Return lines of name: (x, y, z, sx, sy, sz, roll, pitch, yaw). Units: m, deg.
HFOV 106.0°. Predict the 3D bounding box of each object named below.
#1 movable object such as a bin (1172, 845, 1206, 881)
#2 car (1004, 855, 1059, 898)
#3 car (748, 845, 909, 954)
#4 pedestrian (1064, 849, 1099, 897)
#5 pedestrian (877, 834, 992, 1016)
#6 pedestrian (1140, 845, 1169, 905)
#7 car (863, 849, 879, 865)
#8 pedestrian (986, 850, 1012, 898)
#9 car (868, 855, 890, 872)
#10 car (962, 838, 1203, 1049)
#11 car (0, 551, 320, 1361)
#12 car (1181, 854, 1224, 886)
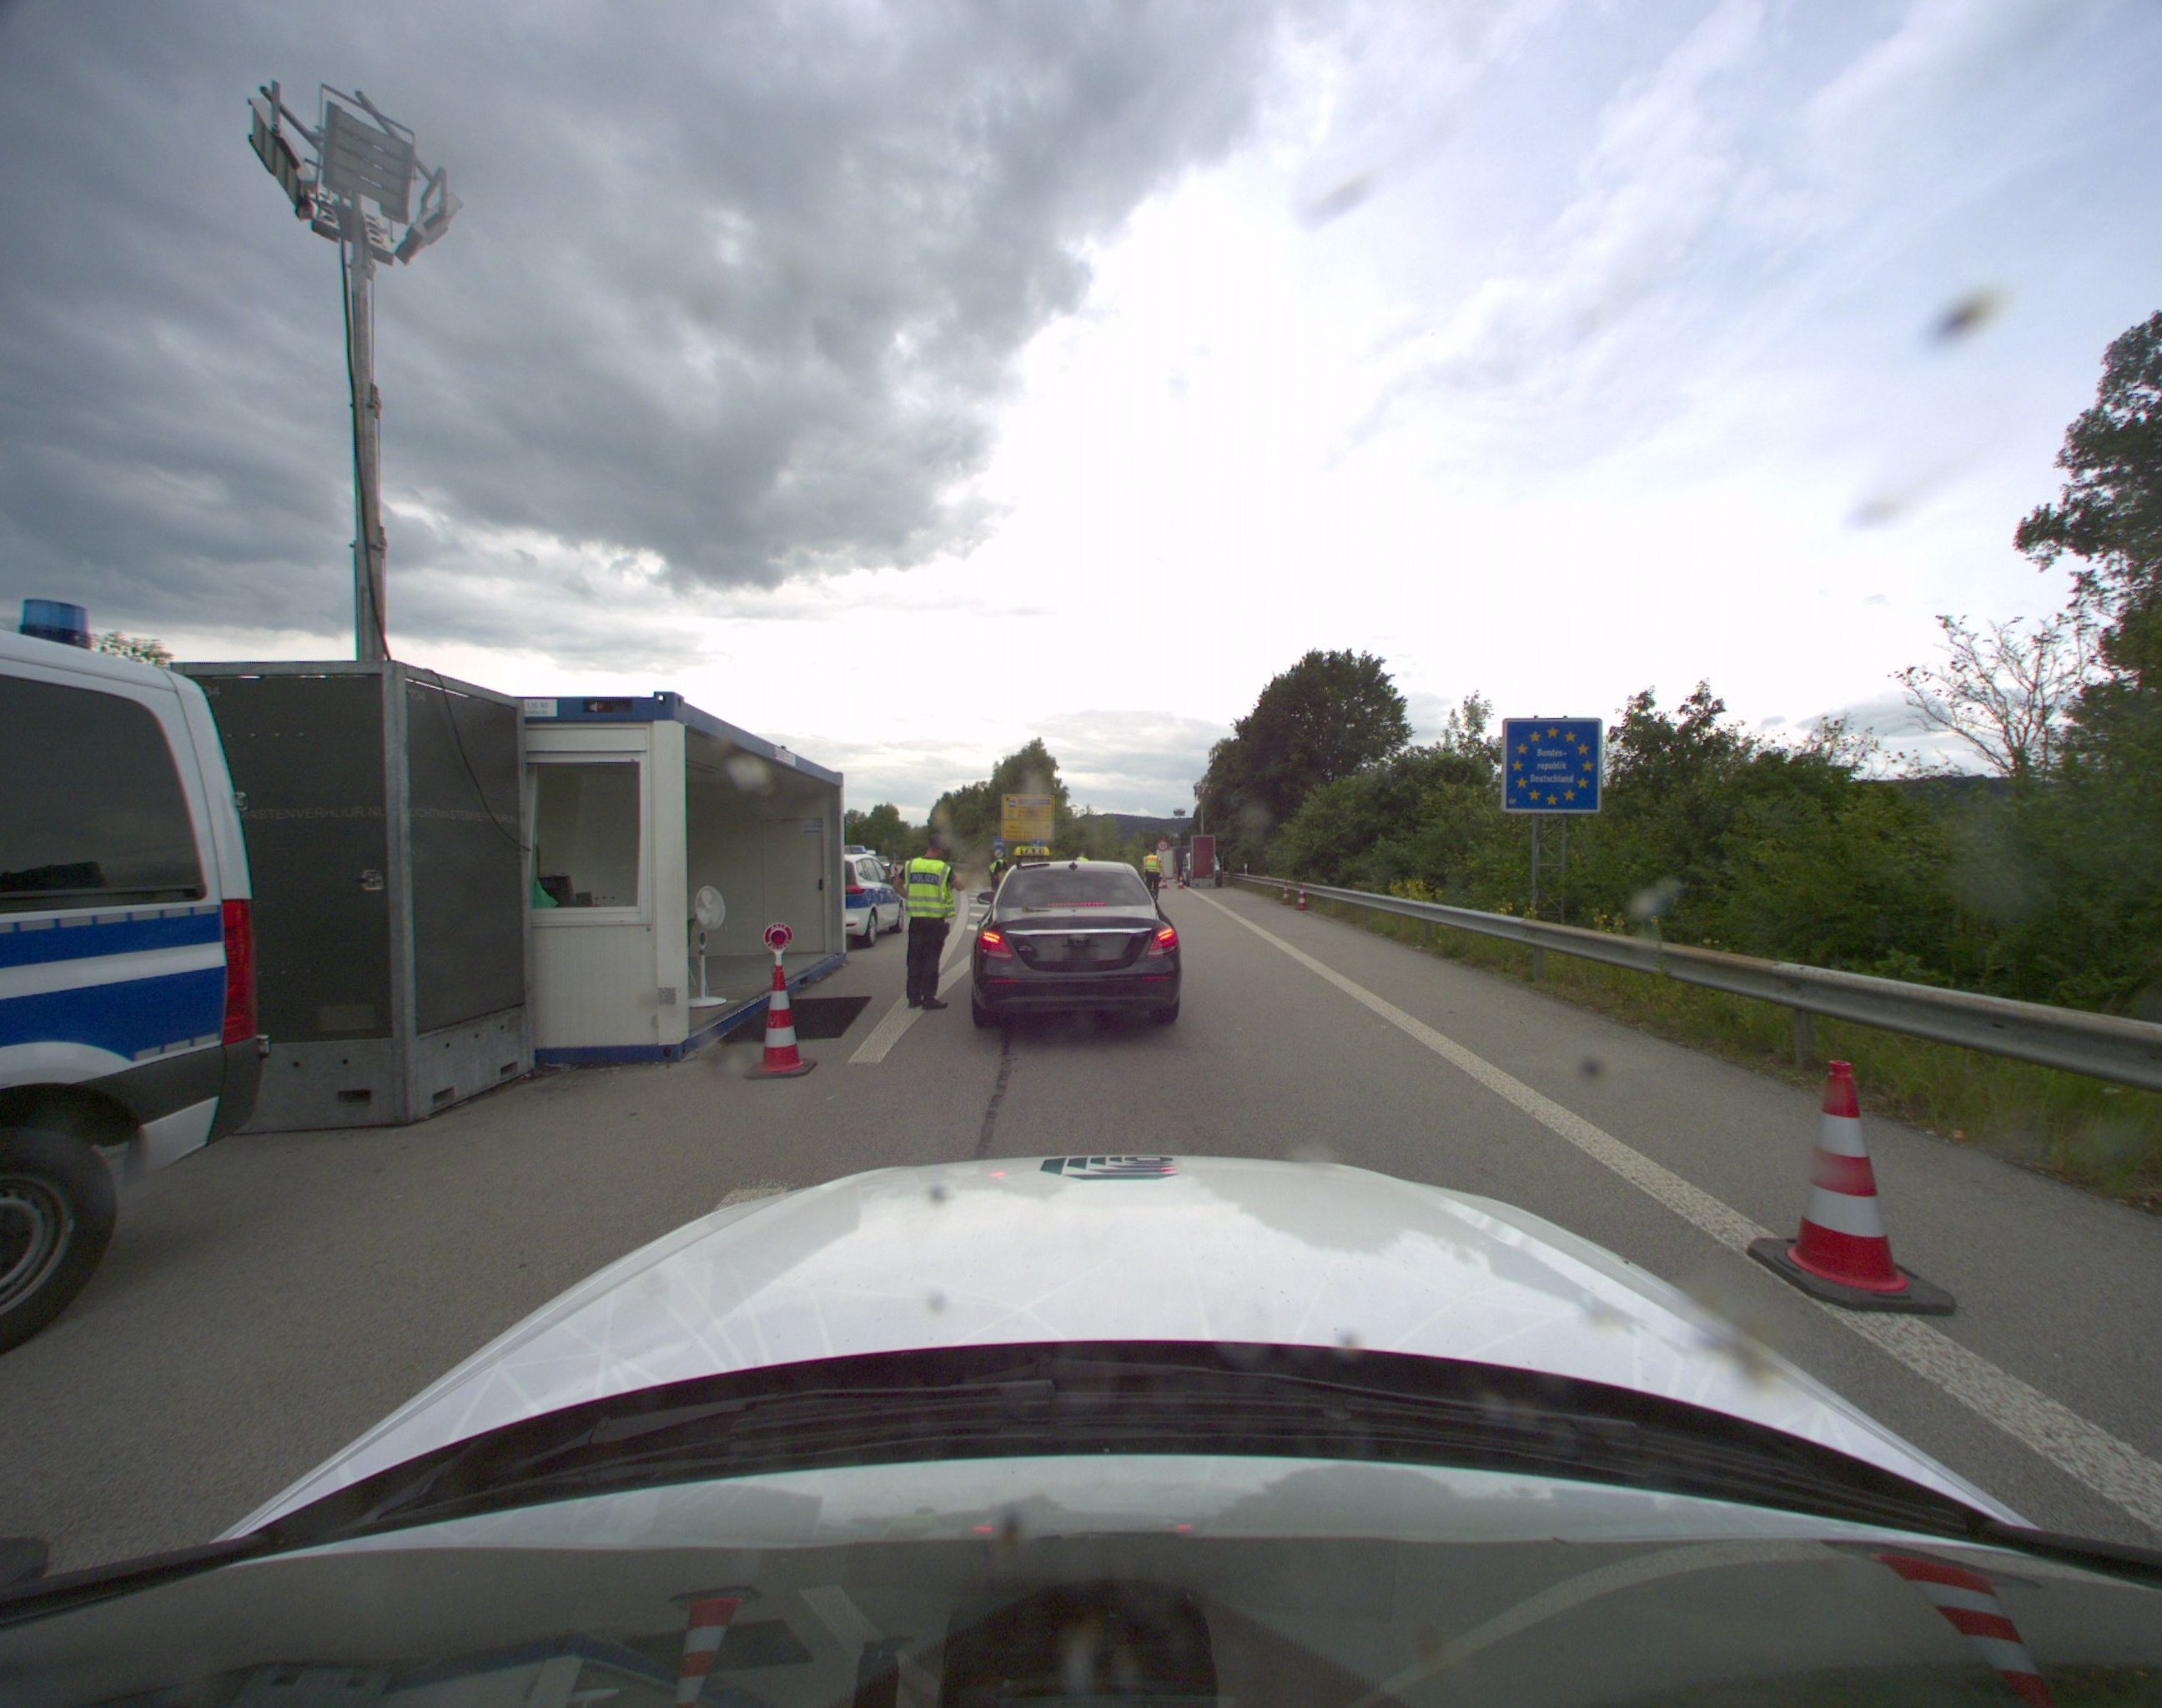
movable object such as a bin: (7.194, 0.583, 54.612, 1.984, 2.280, 4.172, -1, 0, 4)
car: (-1.809, 0.812, 30.953, 1.850, 1.498, 4.255, -1, 0, -1)
car: (-4.526, 0.741, 15.256, 1.864, 1.743, 4.005, -1, 0, -2)
pedestrian: (0.017, 0.689, 29.768, 0.914, 1.698, 0.905, 0, 0, -30)
pedestrian: (-1.477, 0.669, 8.226, 0.752, 1.718, 0.823, -2, -1, 39)
pedestrian: (2.278, 0.648, 25.409, 0.809, 1.830, 0.810, -1, -1, 1)
car: (-30.617, 0.418, 118.708, 1.862, 2.222, 4.227, -1, 0, -20)
pedestrian: (-3.117, 0.748, 31.008, 0.908, 1.769, 0.911, -1, 0, -1)
car: (-18.422, 0.878, 74.242, 1.857, 1.498, 4.237, -1, 0, -13)
car: (-0.086, 0.694, 8.505, 1.851, 1.595, 4.371, -1, 0, -3)
car: (-4.262, 0.313, 0.859, 2.023, 2.463, 5.276, -1, 0, -2)
car: (6.753, 0.860, 45.771, 1.908, 1.678, 5.087, 1, 0, 3)
